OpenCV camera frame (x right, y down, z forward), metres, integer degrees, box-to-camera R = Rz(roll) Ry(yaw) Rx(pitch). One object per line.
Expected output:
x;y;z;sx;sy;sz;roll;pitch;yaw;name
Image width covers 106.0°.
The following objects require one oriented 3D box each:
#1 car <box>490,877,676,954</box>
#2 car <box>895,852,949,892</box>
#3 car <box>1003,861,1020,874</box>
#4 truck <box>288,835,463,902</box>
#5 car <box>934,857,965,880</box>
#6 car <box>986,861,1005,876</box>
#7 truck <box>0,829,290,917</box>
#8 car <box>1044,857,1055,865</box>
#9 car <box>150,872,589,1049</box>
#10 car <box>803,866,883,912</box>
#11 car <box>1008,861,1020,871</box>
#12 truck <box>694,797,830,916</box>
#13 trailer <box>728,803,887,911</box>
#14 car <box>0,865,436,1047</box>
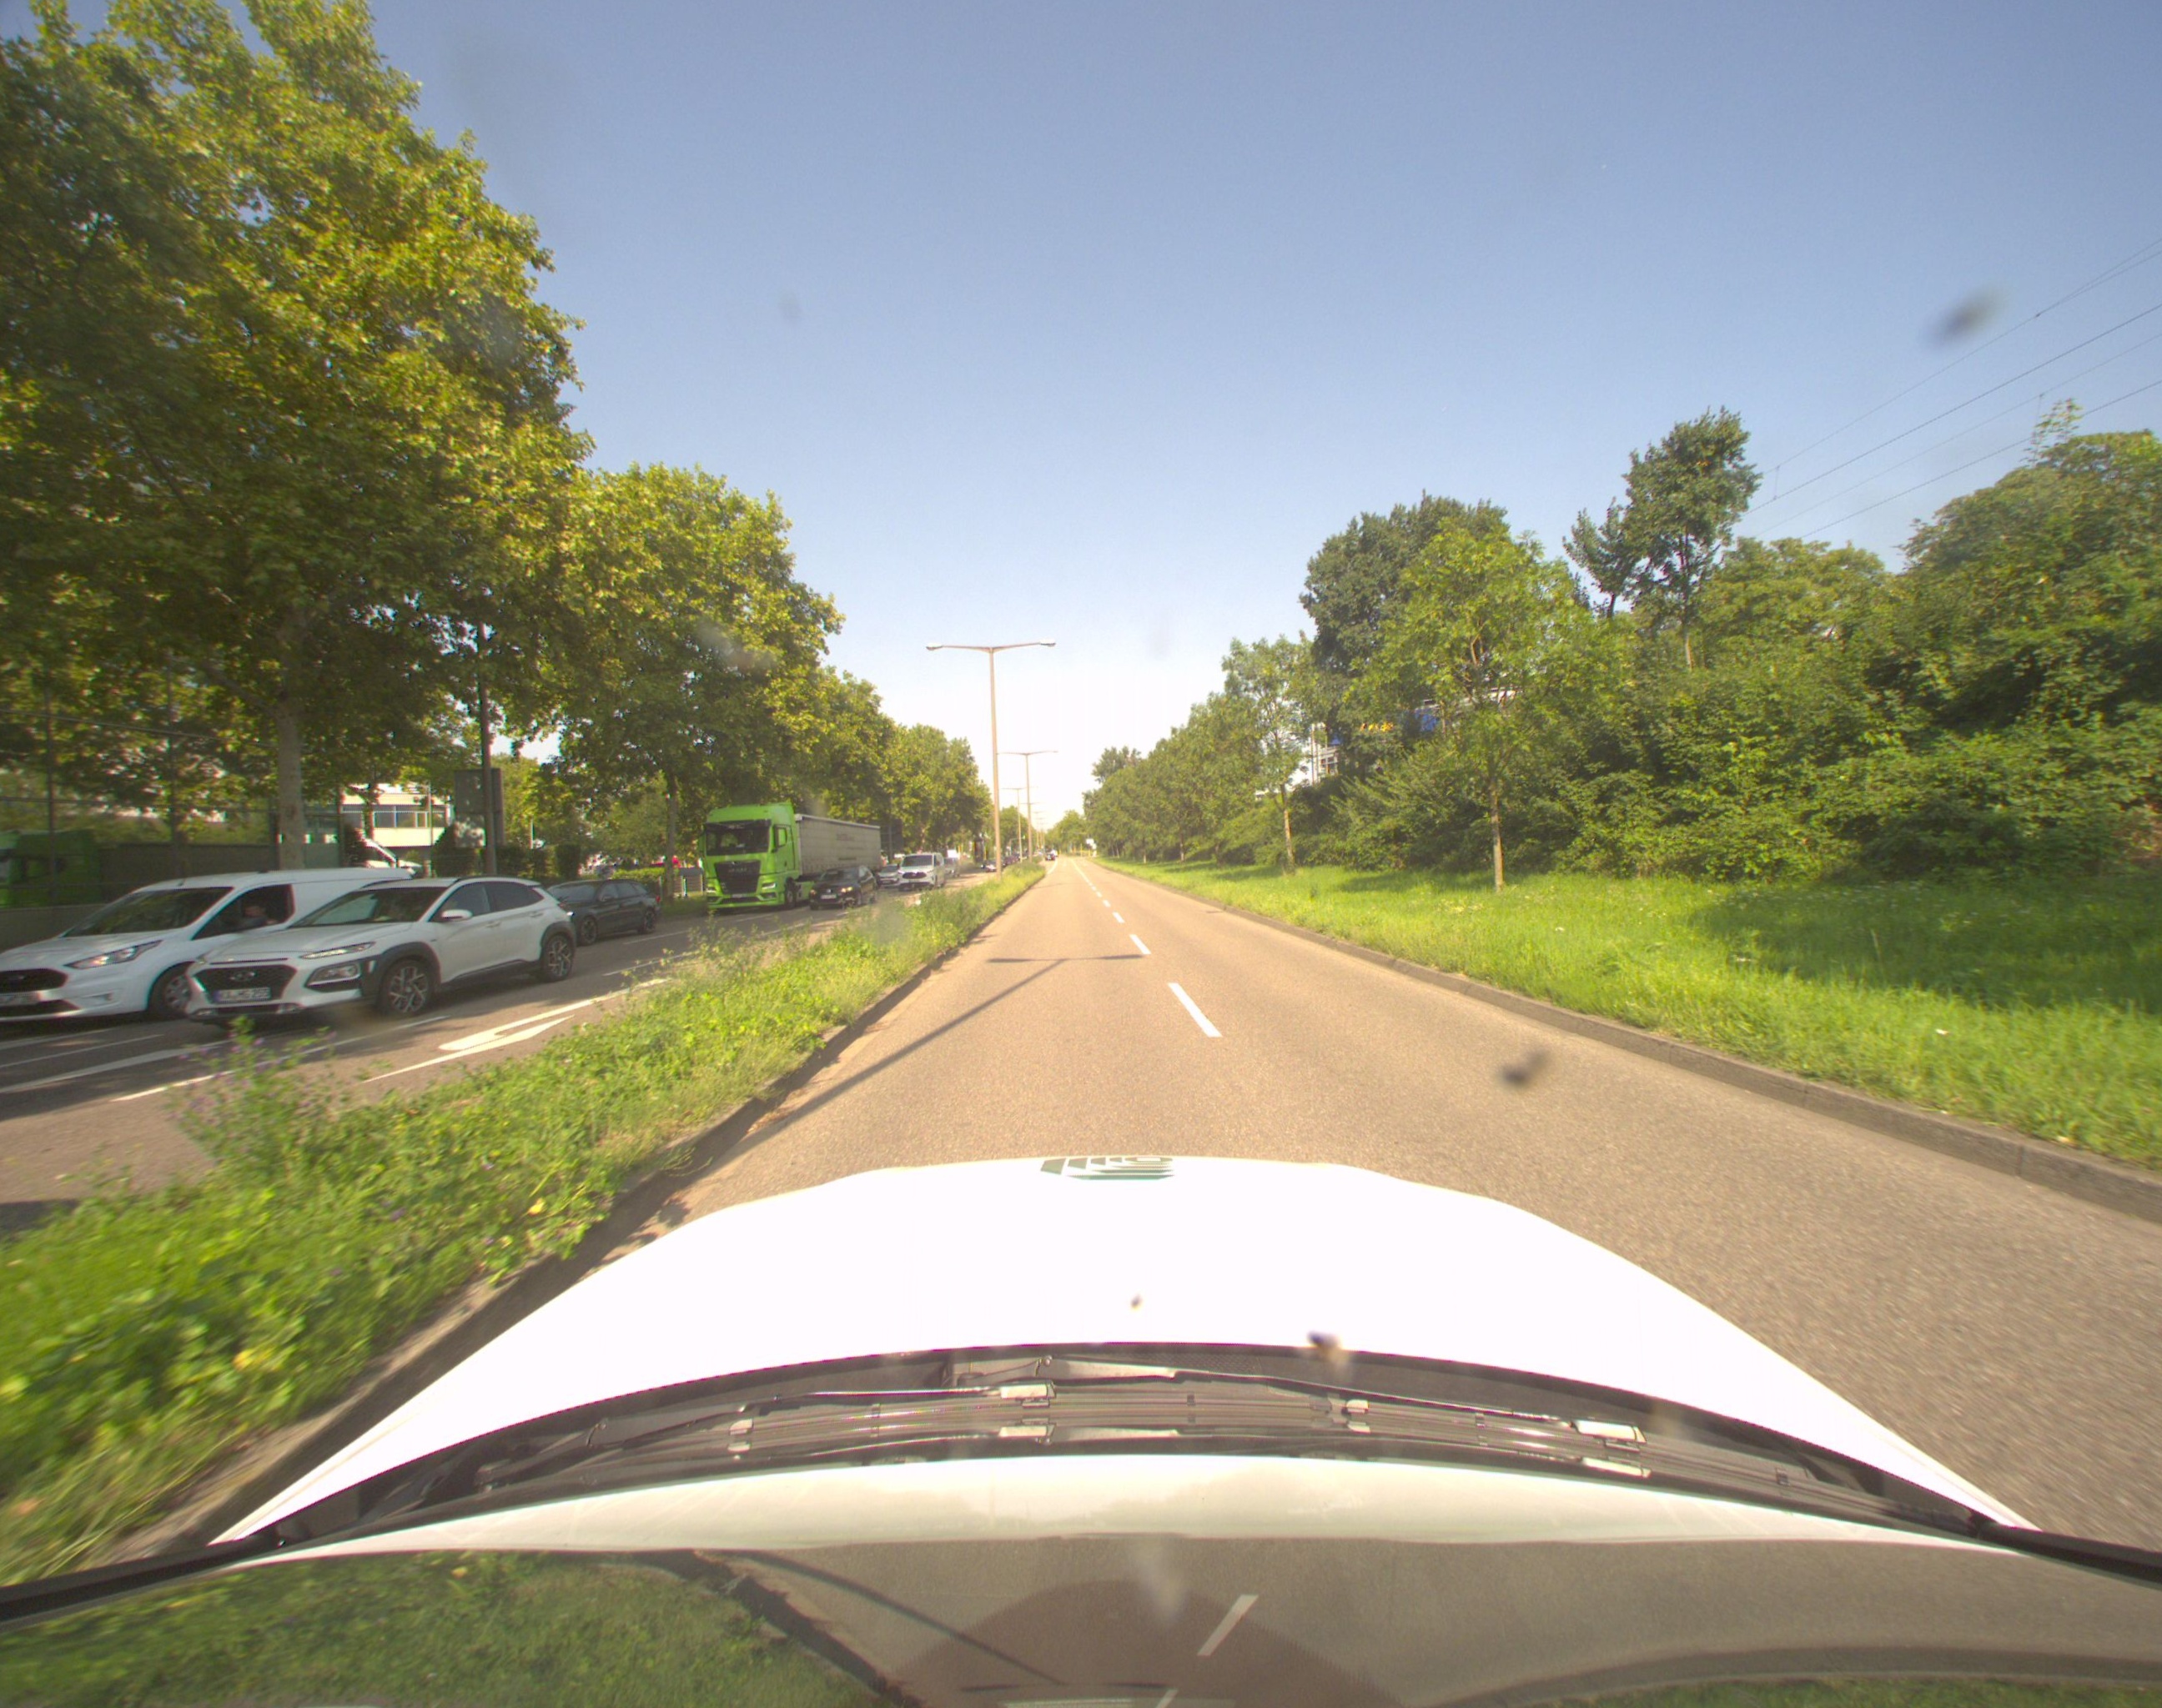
-11.516;1.348;19.247;1.642;1.411;4.477;-4;-1;-1;car
-8.497;0.909;44.020;1.988;1.953;5.033;-2;0;-2;car
-9.582;1.823;113.059;1.948;1.724;4.584;-2;0;-1;car
-32.400;0.622;37.692;5.935;2.861;2.213;-1;-1;-39;truck
-11.937;1.328;74.231;1.979;1.858;4.966;-4;0;-1;car
-9.506;1.598;90.328;1.742;1.479;4.581;-4;0;-3;car
-35.976;0.667;31.282;1.986;2.861;9.131;-2;0;2;truck
-6.077;1.313;157.229;1.685;1.486;4.002;-2;0;2;car
-8.123;1.072;9.947;1.690;1.528;4.138;-4;0;-1;car
-8.306;1.185;28.758;1.609;1.398;3.857;-4;-1;0;car
-12.849;2.267;156.298;1.988;1.759;4.475;-4;0;-1;car
-11.610;0.119;30.248;2.600;3.819;5.888;-4;-1;-1;truck
-11.754;0.160;37.036;2.626;3.821;13.804;-4;0;-1;trailer
-11.672;1.167;11.227;1.699;1.888;4.747;-4;-1;-1;car
